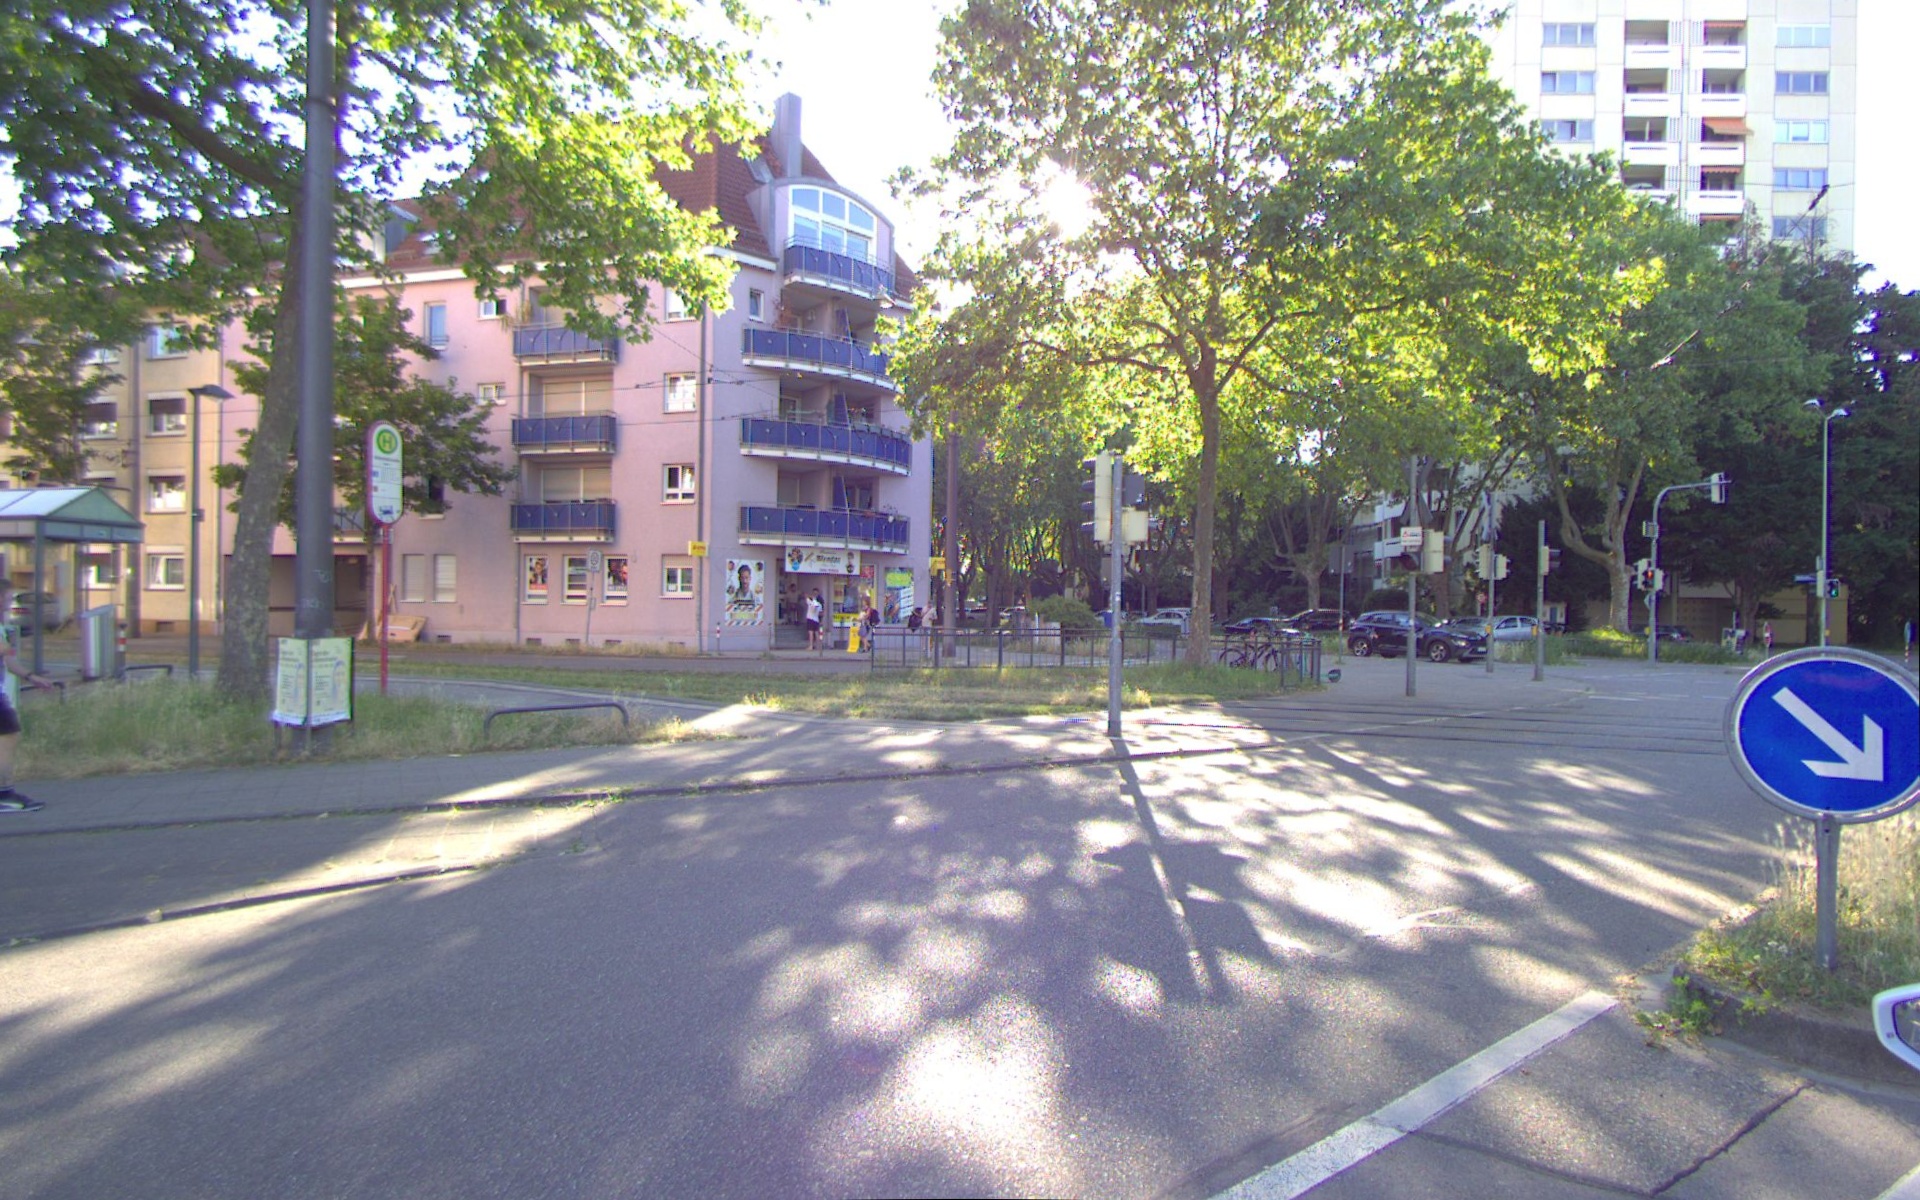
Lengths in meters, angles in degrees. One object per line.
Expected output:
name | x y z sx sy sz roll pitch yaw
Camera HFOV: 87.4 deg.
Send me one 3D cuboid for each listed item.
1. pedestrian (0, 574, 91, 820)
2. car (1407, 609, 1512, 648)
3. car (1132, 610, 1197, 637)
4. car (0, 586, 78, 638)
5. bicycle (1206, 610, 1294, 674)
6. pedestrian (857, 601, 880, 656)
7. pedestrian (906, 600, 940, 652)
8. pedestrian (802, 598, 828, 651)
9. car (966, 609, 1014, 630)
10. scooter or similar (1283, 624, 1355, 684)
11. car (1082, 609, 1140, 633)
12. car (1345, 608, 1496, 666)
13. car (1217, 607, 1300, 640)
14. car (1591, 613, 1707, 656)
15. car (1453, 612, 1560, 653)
pedestrian | -7.229 0.686 7.401 0.889 1.760 1.084 2 0 38
car | 22.842 1.288 46.033 3.921 1.617 1.738 2 0 0
car | 13.401 1.539 65.983 3.921 1.617 1.738 2 0 0
car | -33.477 0.378 35.213 4.029 1.728 1.940 2 0 16
bicycle | 6.402 0.909 22.244 1.811 1.324 0.382 2 0 34
pedestrian | -2.875 0.878 31.489 0.609 1.689 0.549 2 0 -13
pedestrian | -1.222 0.854 33.511 0.909 1.689 0.619 2 0 28
pedestrian | -4.714 0.781 32.699 0.610 1.689 0.549 2 0 38
car | 2.606 1.654 86.365 3.919 1.617 1.739 2 0 9
scooter or similar | 7.924 1.174 22.203 1.412 1.255 0.414 2 0 9
car | 11.082 1.510 73.897 3.921 1.617 1.738 2 0 0
car | 14.325 1.117 31.435 1.722 1.617 3.959 2 0 -36
car | 15.913 1.229 53.681 3.921 1.617 1.738 2 0 0
car | 31.616 1.563 46.203 1.971 1.798 3.979 2 0 -22
car | 23.882 1.409 43.983 3.732 1.617 1.738 2 0 0
